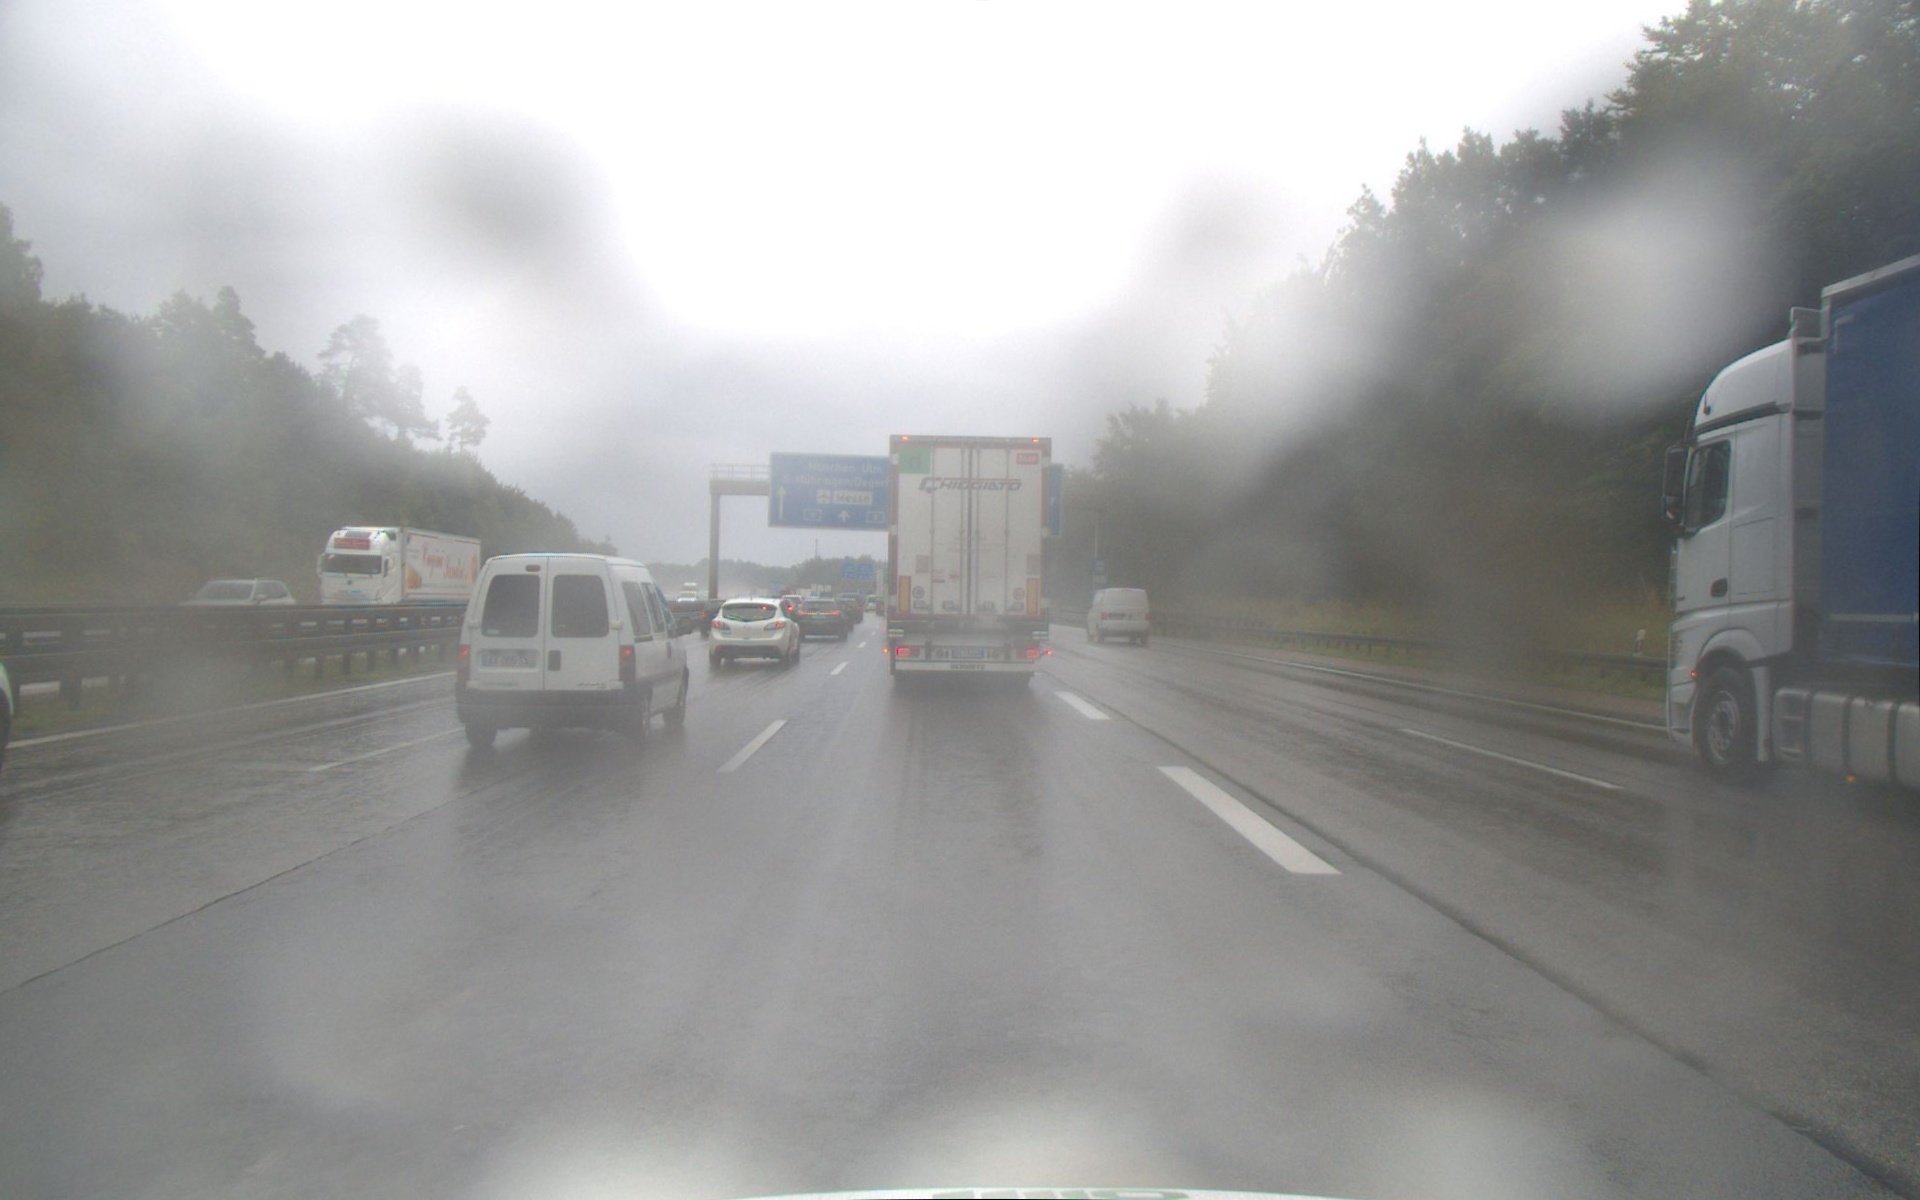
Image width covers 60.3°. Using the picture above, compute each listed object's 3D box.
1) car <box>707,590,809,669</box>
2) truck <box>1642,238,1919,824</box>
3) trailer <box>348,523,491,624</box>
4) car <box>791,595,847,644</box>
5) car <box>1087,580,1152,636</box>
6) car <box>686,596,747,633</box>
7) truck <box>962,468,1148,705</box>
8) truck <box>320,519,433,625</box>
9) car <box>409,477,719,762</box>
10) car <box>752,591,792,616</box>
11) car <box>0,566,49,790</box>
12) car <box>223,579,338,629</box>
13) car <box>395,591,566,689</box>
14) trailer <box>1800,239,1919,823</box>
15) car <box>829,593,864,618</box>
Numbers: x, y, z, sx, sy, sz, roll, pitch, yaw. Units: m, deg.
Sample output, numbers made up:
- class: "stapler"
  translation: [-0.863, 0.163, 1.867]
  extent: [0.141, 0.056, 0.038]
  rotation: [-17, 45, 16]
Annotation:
- class: "car"
  translation: [-4.454, 0.606, 36.936]
  extent: [1.808, 1.619, 4.071]
  rotation: [1, 0, -1]
- class: "truck"
  translation: [7.930, -0.468, 12.969]
  extent: [2.549, 4.084, 6.011]
  rotation: [1, 0, -1]
- class: "trailer"
  translation: [-24.196, -1.095, 74.966]
  extent: [2.489, 4.096, 13.843]
  rotation: [1, 0, -3]
- class: "car"
  translation: [-4.987, 0.662, 58.929]
  extent: [1.809, 1.619, 4.464]
  rotation: [1, 0, -3]
- class: "car"
  translation: [5.831, 0.268, 61.029]
  extent: [1.949, 1.954, 4.767]
  rotation: [1, 0, 0]
- class: "car"
  translation: [-9.625, 0.532, 65.569]
  extent: [1.808, 1.354, 4.465]
  rotation: [1, 0, -1]
- class: "truck"
  translation: [1.614, -0.188, 31.248]
  extent: [2.813, 3.624, 11.303]
  rotation: [1, 0, 1]
- class: "truck"
  translation: [-23.829, -1.090, 67.845]
  extent: [2.489, 4.096, 6.321]
  rotation: [1, 0, -2]
- class: "car"
  translation: [-4.052, 0.161, 17.912]
  extent: [2.168, 2.618, 5.015]
  rotation: [1, 0, -1]
- class: "car"
  translation: [-10.788, 0.202, 95.139]
  extent: [1.808, 1.354, 4.465]
  rotation: [1, 0, -1]
- class: "car"
  translation: [-7.820, 0.565, 10.313]
  extent: [1.808, 1.619, 4.466]
  rotation: [1, 0, 0]
- class: "car"
  translation: [-19.344, 0.100, 47.252]
  extent: [1.765, 1.368, 3.998]
  rotation: [0, 0, -2]
- class: "car"
  translation: [-8.653, 0.659, 30.257]
  extent: [1.808, 1.619, 4.466]
  rotation: [1, 0, 0]
- class: "trailer"
  translation: [8.034, -0.461, 6.275]
  extent: [2.502, 4.084, 13.711]
  rotation: [1, 0, -1]
- class: "car"
  translation: [-6.665, 0.302, 97.594]
  extent: [1.808, 1.354, 4.465]
  rotation: [1, 0, -1]
